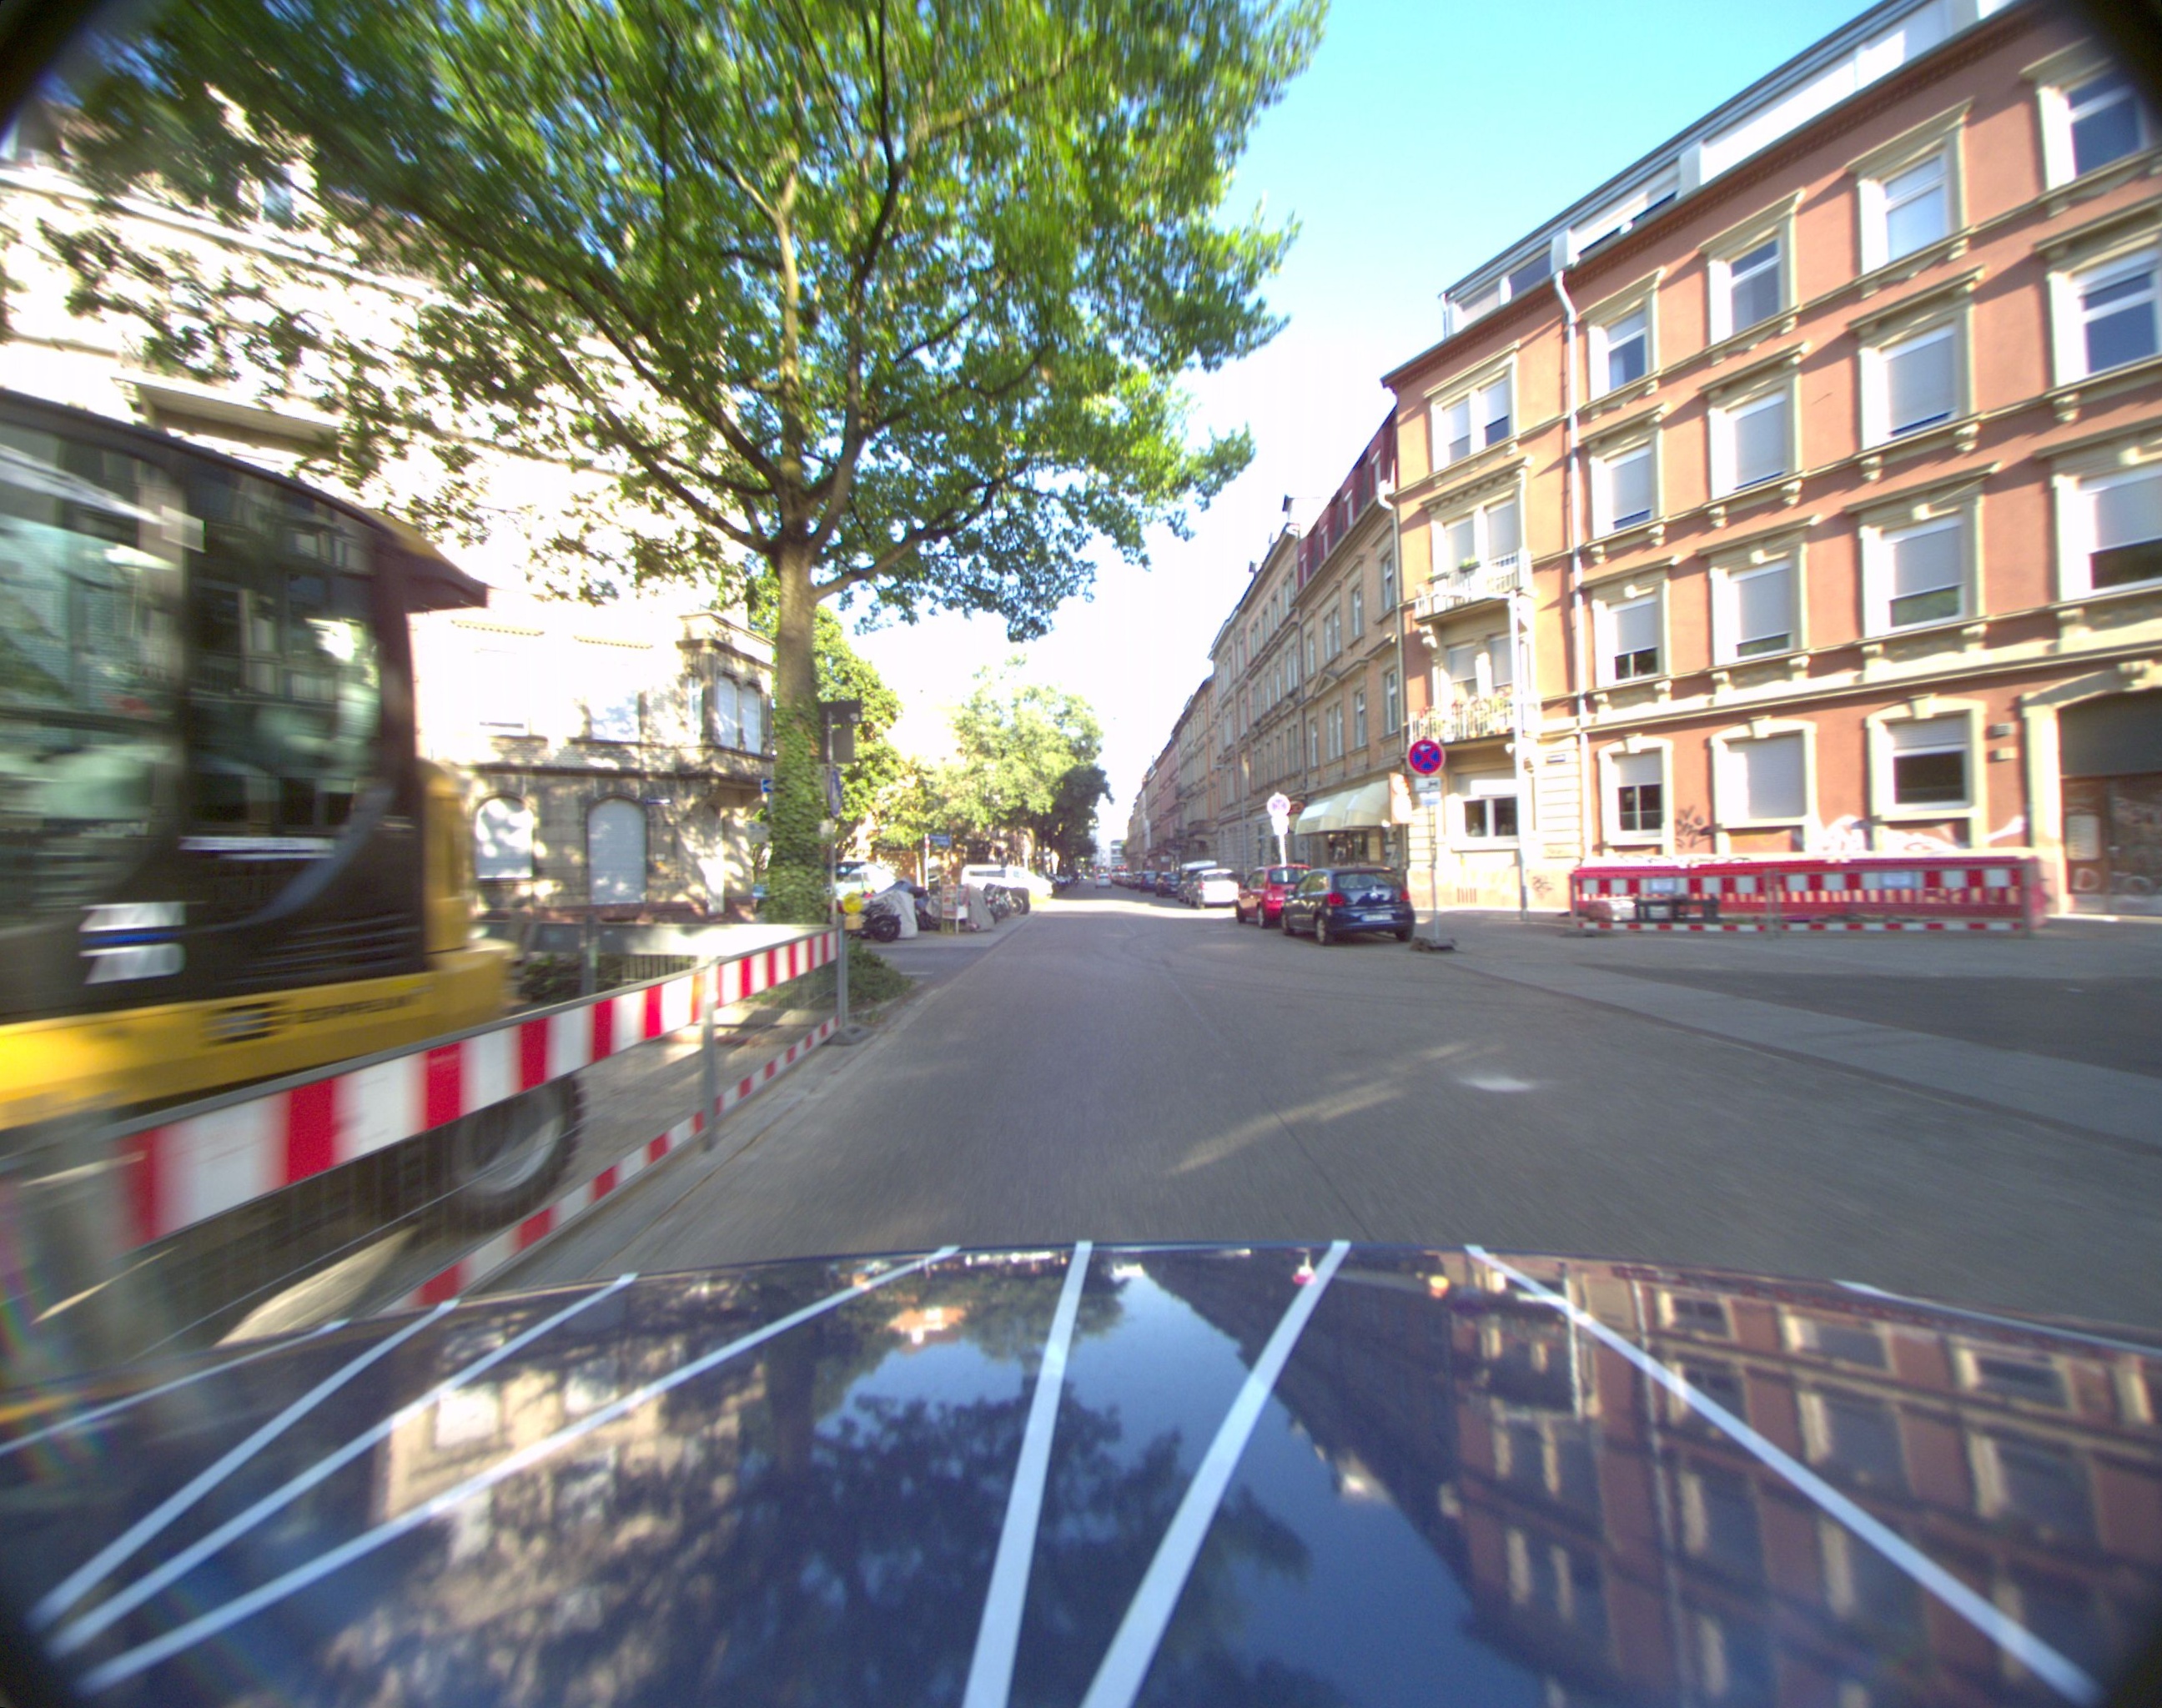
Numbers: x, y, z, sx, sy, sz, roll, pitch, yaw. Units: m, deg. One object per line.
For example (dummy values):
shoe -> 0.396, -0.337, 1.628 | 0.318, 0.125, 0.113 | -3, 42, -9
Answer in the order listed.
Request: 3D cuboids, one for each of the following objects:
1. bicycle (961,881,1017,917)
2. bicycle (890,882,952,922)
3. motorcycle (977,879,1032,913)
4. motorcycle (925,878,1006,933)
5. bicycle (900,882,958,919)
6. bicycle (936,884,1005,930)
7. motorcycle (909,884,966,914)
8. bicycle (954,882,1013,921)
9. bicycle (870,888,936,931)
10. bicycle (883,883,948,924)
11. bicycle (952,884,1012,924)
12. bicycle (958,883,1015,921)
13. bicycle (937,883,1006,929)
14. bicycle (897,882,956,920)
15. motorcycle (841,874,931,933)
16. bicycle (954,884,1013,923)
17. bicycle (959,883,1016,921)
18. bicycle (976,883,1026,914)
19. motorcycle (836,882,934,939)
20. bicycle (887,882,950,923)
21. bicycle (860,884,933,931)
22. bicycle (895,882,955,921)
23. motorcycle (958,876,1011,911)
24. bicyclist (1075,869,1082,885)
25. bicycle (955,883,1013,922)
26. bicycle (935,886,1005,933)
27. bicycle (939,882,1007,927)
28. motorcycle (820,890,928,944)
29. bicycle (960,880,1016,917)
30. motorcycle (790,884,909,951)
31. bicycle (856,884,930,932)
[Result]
bicycle -> -3.332, 1.625, 27.648 | 1.930, 1.238, 0.648 | -2, -1, -5
bicycle -> -5.304, 1.597, 25.245 | 1.930, 1.238, 0.395 | -2, -1, -5
motorcycle -> -2.900, 1.599, 29.098 | 2.028, 1.277, 0.904 | 0, -1, -1
motorcycle -> -3.112, 1.376, 20.450 | 1.933, 1.404, 0.943 | -3, -1, 28
bicycle -> -5.363, 1.637, 26.852 | 1.930, 1.238, 0.479 | -2, -1, -5
bicycle -> -3.181, 1.515, 21.947 | 1.930, 1.238, 0.303 | -2, -1, -5
motorcycle -> -5.507, 1.706, 29.215 | 2.028, 1.102, 0.904 | -1, -1, -1
bicycle -> -3.311, 1.625, 25.861 | 1.930, 1.238, 0.303 | -2, -1, -5
bicycle -> -5.553, 1.718, 23.746 | 1.930, 1.238, 0.479 | -2, -1, -5
bicycle -> -5.255, 1.571, 24.237 | 1.930, 1.238, 0.479 | -2, -1, -5
bicycle -> -3.276, 1.645, 25.189 | 1.930, 1.238, 0.303 | -2, -1, -5
bicycle -> -3.282, 1.654, 26.511 | 1.930, 1.238, 0.303 | -2, -1, -5
bicycle -> -3.206, 1.524, 22.273 | 1.930, 1.238, 0.303 | -2, -1, -5
bicycle -> -5.335, 1.622, 26.271 | 1.930, 1.238, 0.479 | -2, -1, -5
motorcycle -> -5.382, 1.361, 21.109 | 2.289, 1.522, 0.755 | -2, 0, -5
bicycle -> -3.274, 1.658, 25.536 | 1.930, 1.238, 0.303 | -2, -1, -5
bicycle -> -3.301, 1.694, 26.840 | 1.930, 1.238, 0.303 | -2, -1, -5
bicycle -> -2.996, 1.660, 28.411 | 1.822, 1.121, 0.443 | 0, -1, -1
motorcycle -> -4.928, 1.412, 19.138 | 2.286, 1.333, 0.657 | -2, 0, 12
bicycle -> -5.282, 1.584, 24.759 | 1.930, 1.238, 0.479 | -2, -1, -5
bicycle -> -5.253, 1.524, 21.729 | 1.930, 1.238, 0.479 | -2, -1, -5
bicycle -> -5.270, 1.608, 25.744 | 1.930, 1.238, 0.479 | -2, -1, -5
motorcycle -> -3.810, 1.562, 30.090 | 2.028, 1.354, 0.694 | -1, -1, 1
bicyclist -> -0.252, 2.612, 87.162 | 0.712, 1.864, 1.120 | -1, -1, 1
bicycle -> -3.341, 1.662, 26.196 | 1.930, 1.238, 0.303 | -2, -1, -5
bicycle -> -3.151, 1.570, 21.631 | 1.930, 1.238, 0.303 | -2, -1, -5
bicycle -> -3.209, 1.484, 22.606 | 1.930, 1.239, 0.303 | -2, 0, -5
motorcycle -> -4.963, 1.499, 18.251 | 2.286, 1.173, 0.972 | -2, 0, 13
bicycle -> -3.313, 1.597, 27.149 | 1.930, 1.238, 0.303 | -2, -1, -5
motorcycle -> -5.100, 1.382, 16.885 | 2.372, 1.333, 0.940 | -2, 0, -9
bicycle -> -5.232, 1.497, 21.234 | 1.930, 1.238, 0.452 | -2, -1, -5
